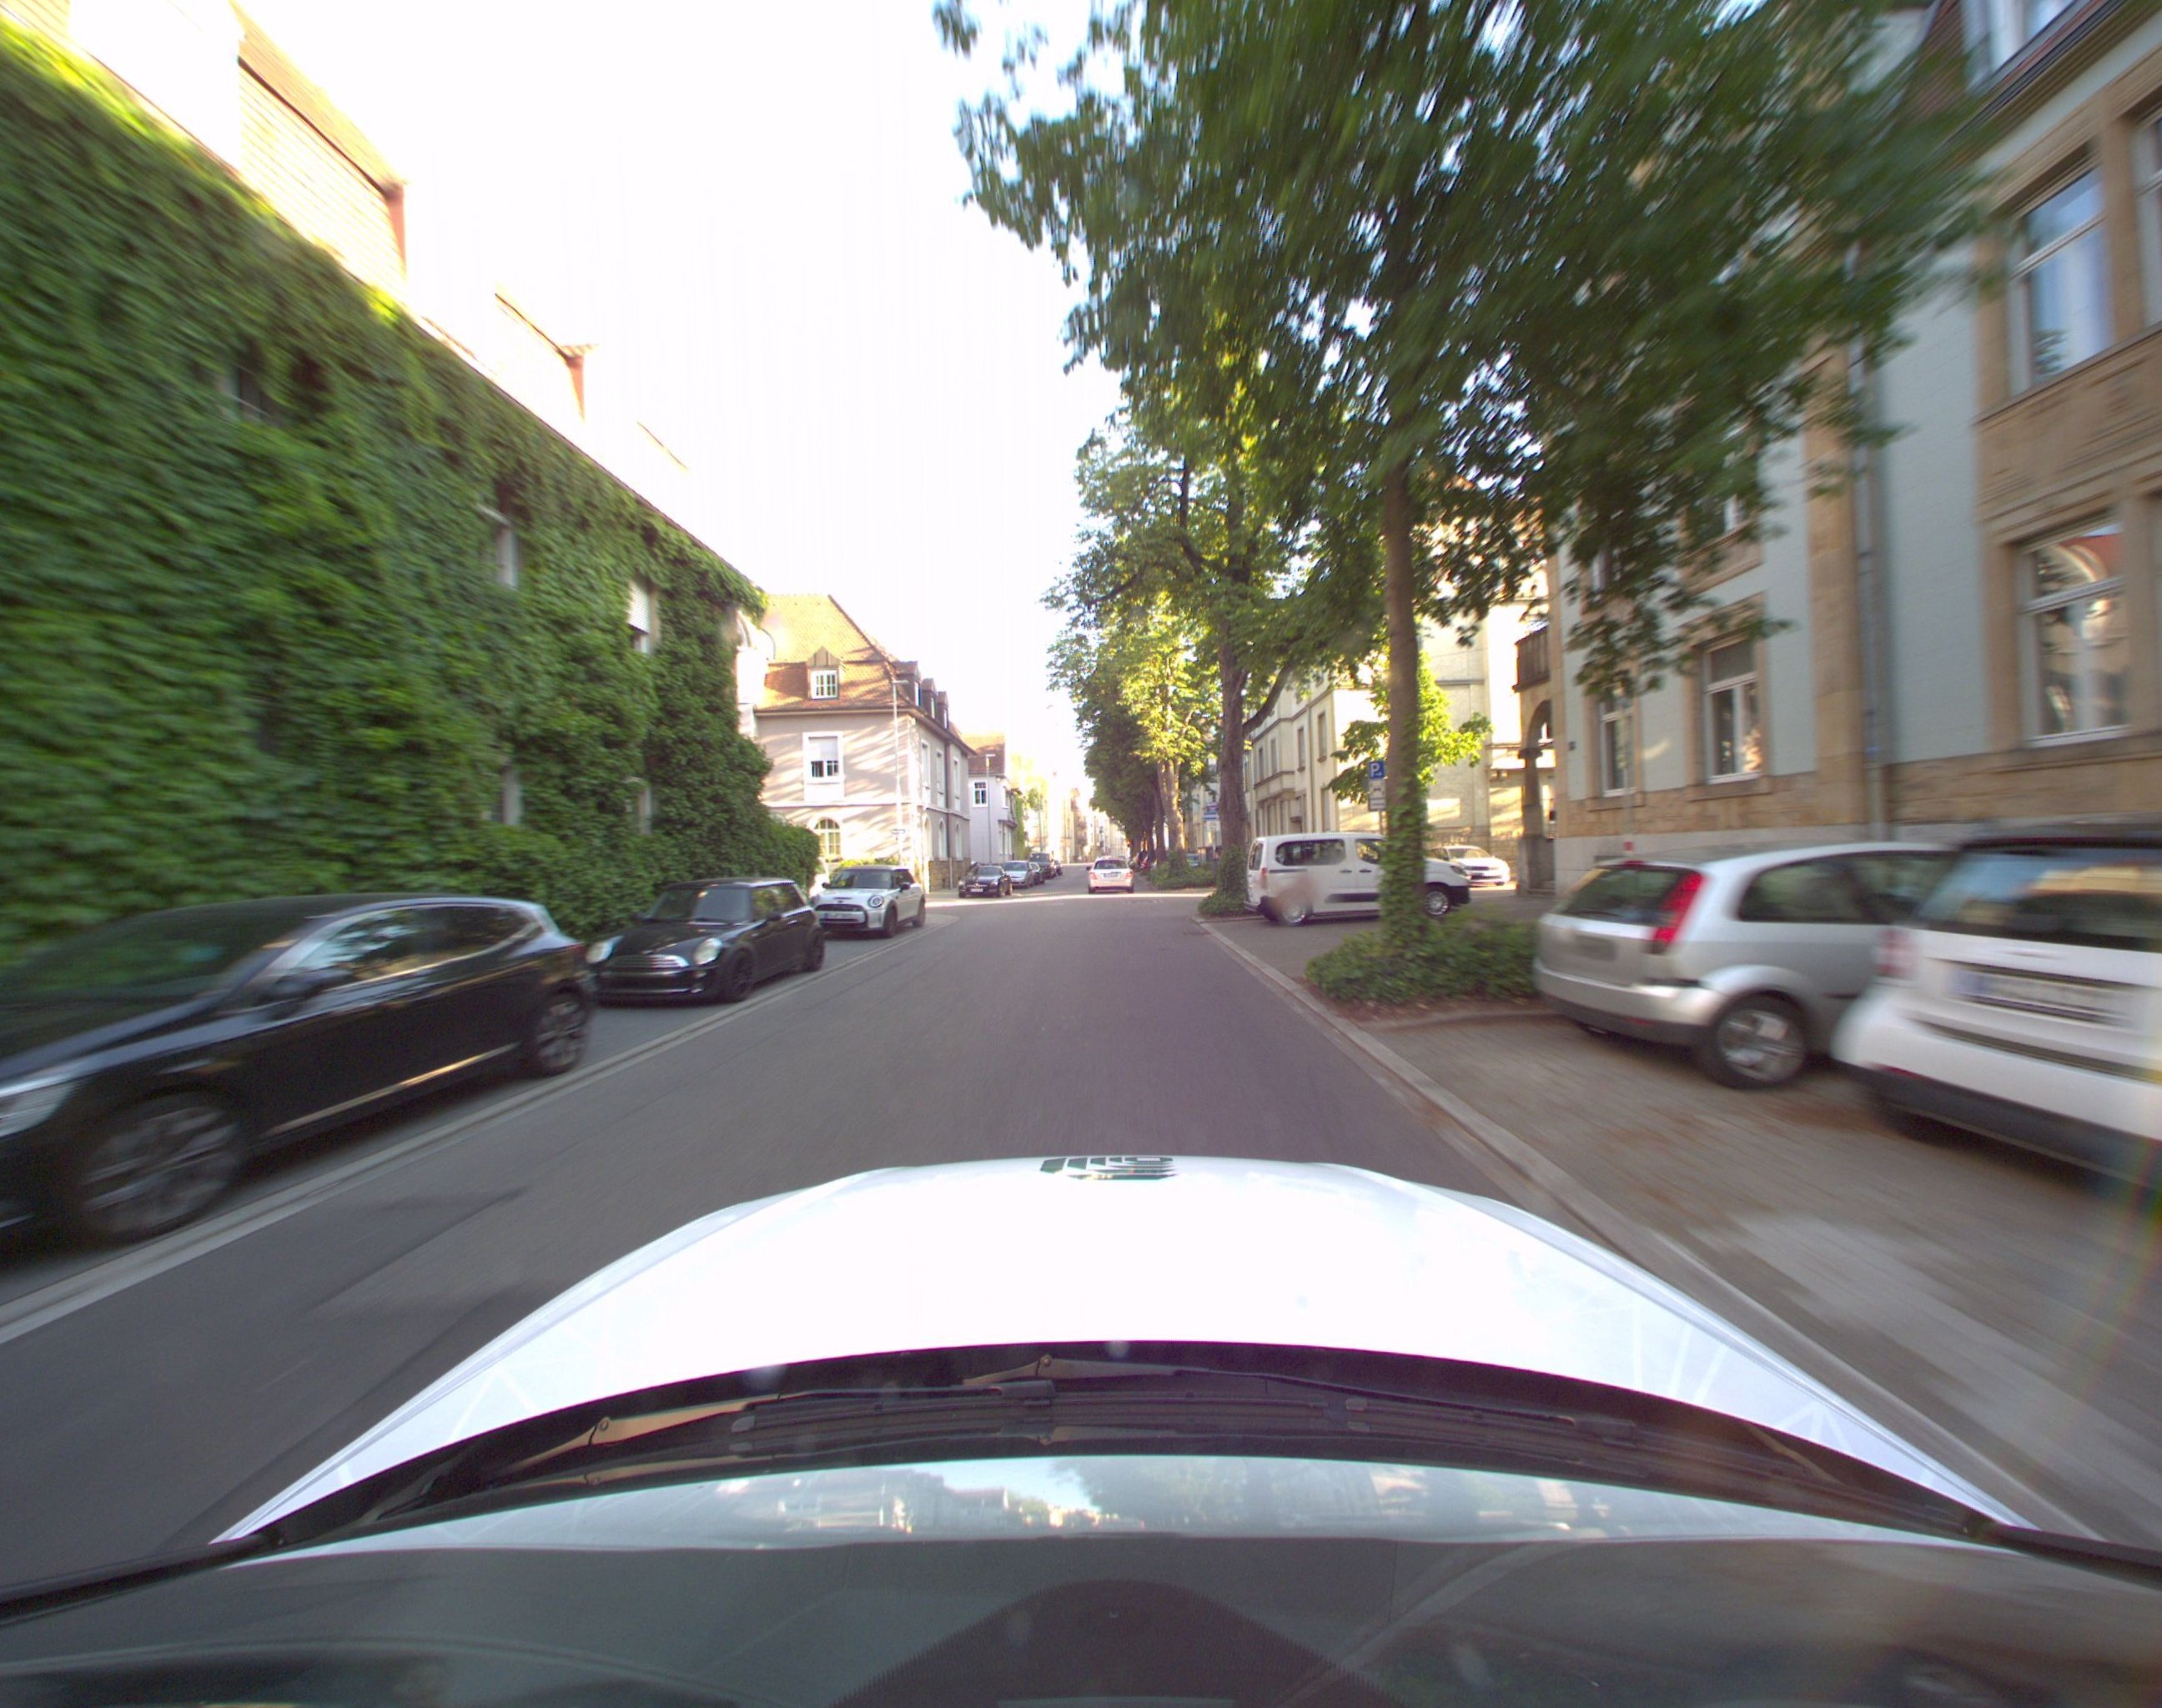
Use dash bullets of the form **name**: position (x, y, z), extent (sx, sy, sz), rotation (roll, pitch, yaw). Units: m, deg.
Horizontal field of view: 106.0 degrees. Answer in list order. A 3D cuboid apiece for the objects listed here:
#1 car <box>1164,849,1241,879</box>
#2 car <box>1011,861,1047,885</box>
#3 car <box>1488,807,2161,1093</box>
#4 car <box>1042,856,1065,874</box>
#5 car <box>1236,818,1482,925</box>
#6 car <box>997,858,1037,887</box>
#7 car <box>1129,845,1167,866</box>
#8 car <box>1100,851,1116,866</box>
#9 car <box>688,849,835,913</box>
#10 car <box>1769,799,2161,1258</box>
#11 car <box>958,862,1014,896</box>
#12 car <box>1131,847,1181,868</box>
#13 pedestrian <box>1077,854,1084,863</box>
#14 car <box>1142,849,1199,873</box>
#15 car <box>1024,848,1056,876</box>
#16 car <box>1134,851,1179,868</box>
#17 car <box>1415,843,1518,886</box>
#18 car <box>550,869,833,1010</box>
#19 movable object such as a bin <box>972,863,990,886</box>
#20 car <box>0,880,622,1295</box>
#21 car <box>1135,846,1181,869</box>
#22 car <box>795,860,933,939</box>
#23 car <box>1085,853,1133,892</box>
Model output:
- **car**: position (6.570, 0.528, 44.249), extent (3.784, 1.438, 1.747), rotation (-3, 0, -3)
- **car**: position (-3.052, 1.117, 48.391), extent (1.524, 1.319, 4.232), rotation (-1, -1, 4)
- **car**: position (5.109, 0.542, 5.571), extent (3.734, 1.462, 1.735), rotation (-3, 0, 1)
- **car**: position (-2.401, 0.921, 71.370), extent (1.688, 1.447, 4.360), rotation (-1, 0, 2)
- **car**: position (5.546, 0.334, 16.683), extent (4.298, 1.807, 2.001), rotation (-3, 0, 1)
- **car**: position (-3.397, 0.942, 43.670), extent (1.647, 1.445, 3.963), rotation (-1, 0, 3)
- **car**: position (8.065, 0.185, 97.921), extent (4.375, 2.364, 1.999), rotation (-2, 0, -1)
- **car**: position (3.001, 0.526, 89.946), extent (1.617, 1.570, 3.683), rotation (-2, 0, 3)
- **car**: position (-11.251, 0.962, 28.909), extent (4.388, 2.014, 1.999), rotation (-2, -3, -1)
- **car**: position (5.789, 0.474, 3.345), extent (4.298, 1.534, 1.829), rotation (-3, 0, 1)
- **car**: position (-3.995, 1.041, 34.910), extent (1.646, 1.324, 4.050), rotation (-1, 0, 4)
- **car**: position (7.816, 0.364, 85.074), extent (5.038, 1.989, 2.071), rotation (-2, 0, -1)
- **pedestrian**: position (-0.004, 0.872, 161.245), extent (1.215, 1.721, 1.505), rotation (-1, 0, 5)
- **car**: position (6.691, 0.534, 61.226), extent (4.171, 1.475, 1.854), rotation (-4, -1, 4)
- **car**: position (-2.970, 0.577, 60.285), extent (1.975, 1.947, 4.852), rotation (-1, 0, 1)
- **car**: position (7.452, 0.515, 80.834), extent (4.275, 1.541, 1.876), rotation (-2, 0, -1)
- **car**: position (14.051, 0.335, 29.971), extent (1.777, 1.409, 4.471), rotation (-2, 1, 2)
- **car**: position (-4.626, 0.930, 10.349), extent (1.680, 1.379, 3.723), rotation (-1, 0, 2)
- **movable object such as a bin**: position (-6.012, 1.227, 49.022), extent (0.719, 1.283, 2.097), rotation (-2, 0, 2)
- **car**: position (-4.800, 0.944, 4.872), extent (1.643, 1.421, 4.101), rotation (-1, 0, 2)
- **car**: position (7.327, 0.340, 77.820), extent (4.207, 1.896, 1.905), rotation (-3, 0, -1)
- **car**: position (-4.507, 0.889, 17.486), extent (1.697, 1.460, 3.921), rotation (-1, 0, 3)
- **car**: position (1.154, 0.708, 32.437), extent (1.777, 1.437, 3.853), rotation (-1, -1, 2)
